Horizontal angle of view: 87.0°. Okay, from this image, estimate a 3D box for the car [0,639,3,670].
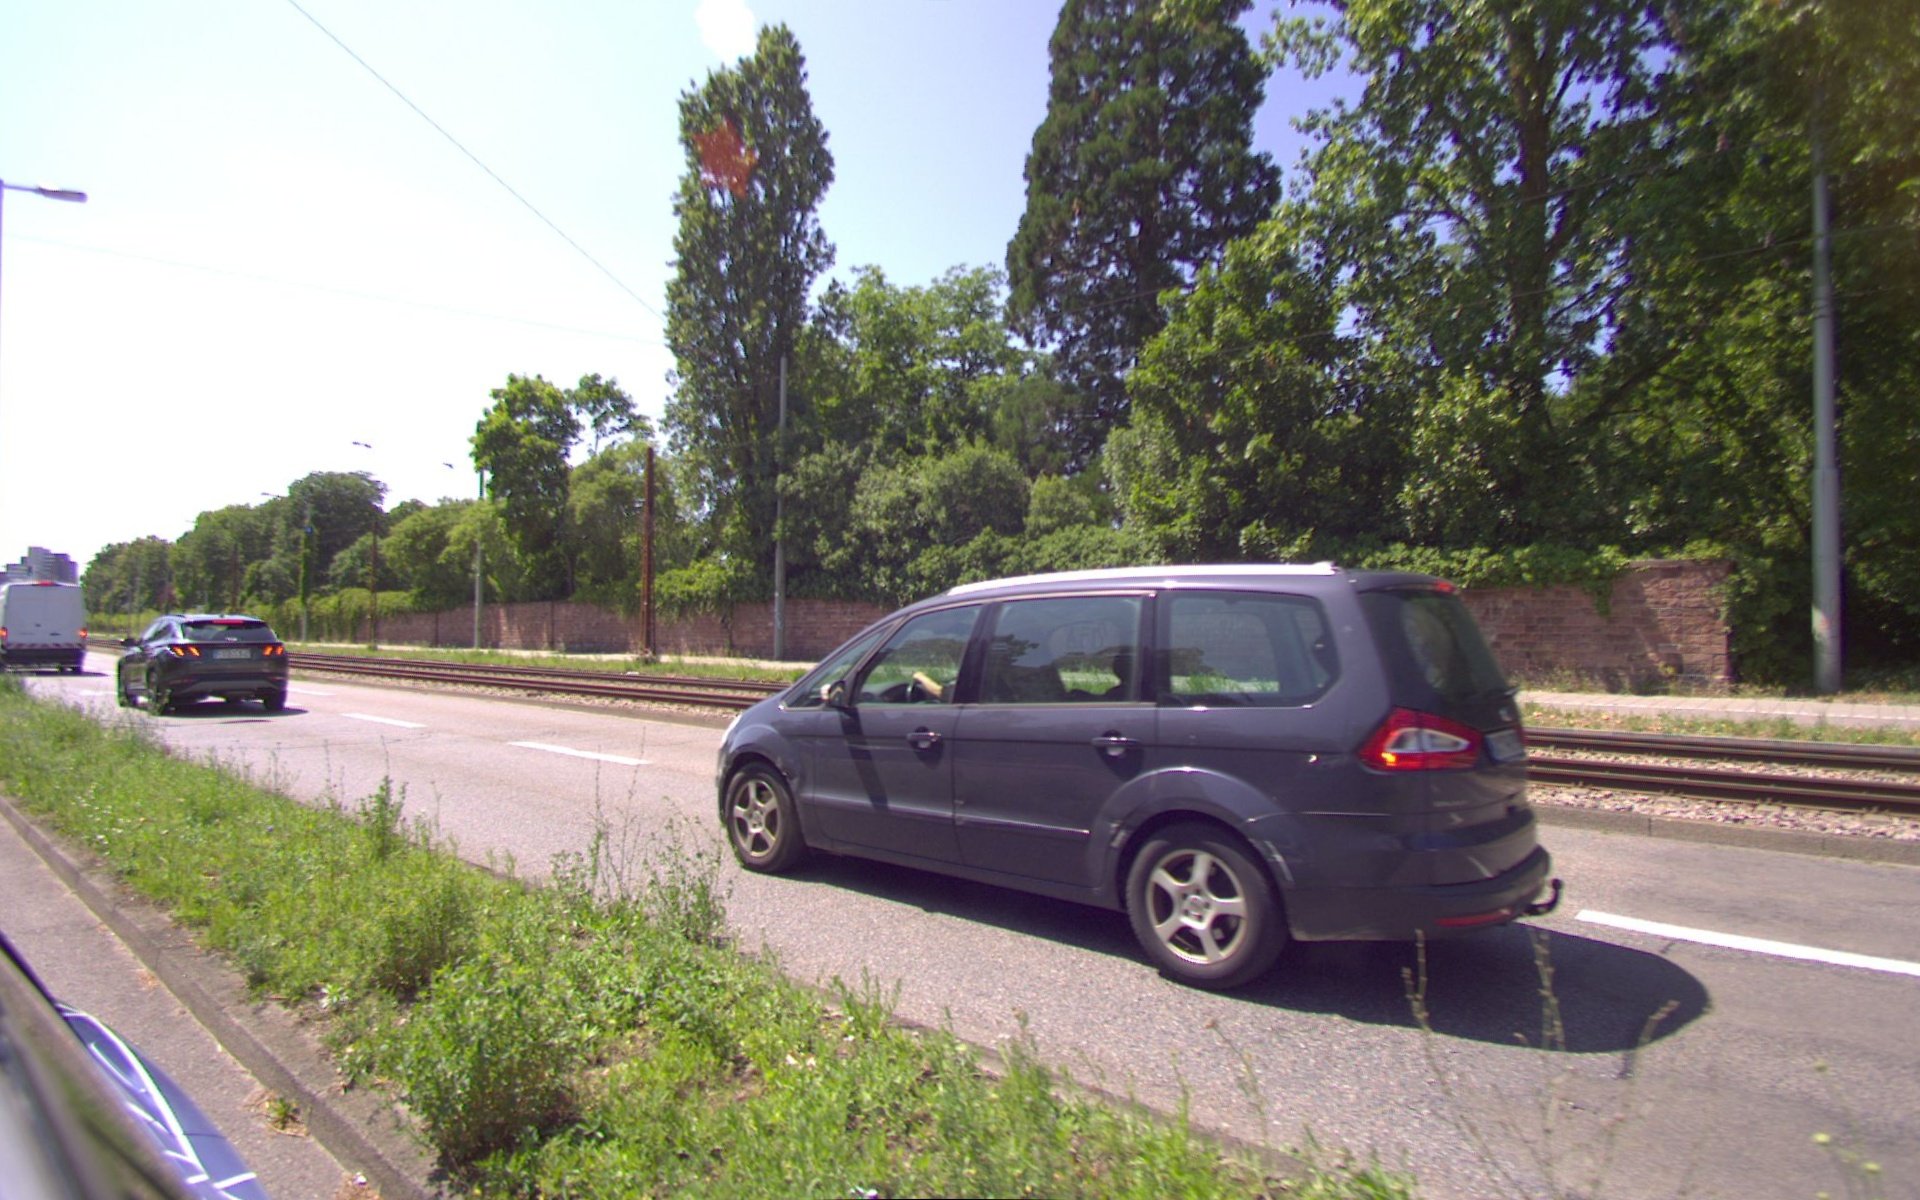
[{"bbox_3d":[-56.220,3.094,57.851,4.587,1.762,1.879,-2,-4,43],"label":"car"}]

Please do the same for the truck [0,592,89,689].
[{"bbox_3d":[-28.999,1.270,31.502,5.544,2.769,2.059,-2,-4,42],"label":"truck"}]

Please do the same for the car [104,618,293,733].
[{"bbox_3d":[-13.488,1.260,17.825,4.487,1.770,1.809,-2,-4,42],"label":"car"}]

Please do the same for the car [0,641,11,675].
[{"bbox_3d":[-42.680,2.513,44.011,3.912,1.470,1.698,-2,-3,42],"label":"car"}]

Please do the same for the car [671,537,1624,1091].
[{"bbox_3d":[0.583,0.757,5.454,4.791,1.726,1.810,-2,-4,41],"label":"car"}]
